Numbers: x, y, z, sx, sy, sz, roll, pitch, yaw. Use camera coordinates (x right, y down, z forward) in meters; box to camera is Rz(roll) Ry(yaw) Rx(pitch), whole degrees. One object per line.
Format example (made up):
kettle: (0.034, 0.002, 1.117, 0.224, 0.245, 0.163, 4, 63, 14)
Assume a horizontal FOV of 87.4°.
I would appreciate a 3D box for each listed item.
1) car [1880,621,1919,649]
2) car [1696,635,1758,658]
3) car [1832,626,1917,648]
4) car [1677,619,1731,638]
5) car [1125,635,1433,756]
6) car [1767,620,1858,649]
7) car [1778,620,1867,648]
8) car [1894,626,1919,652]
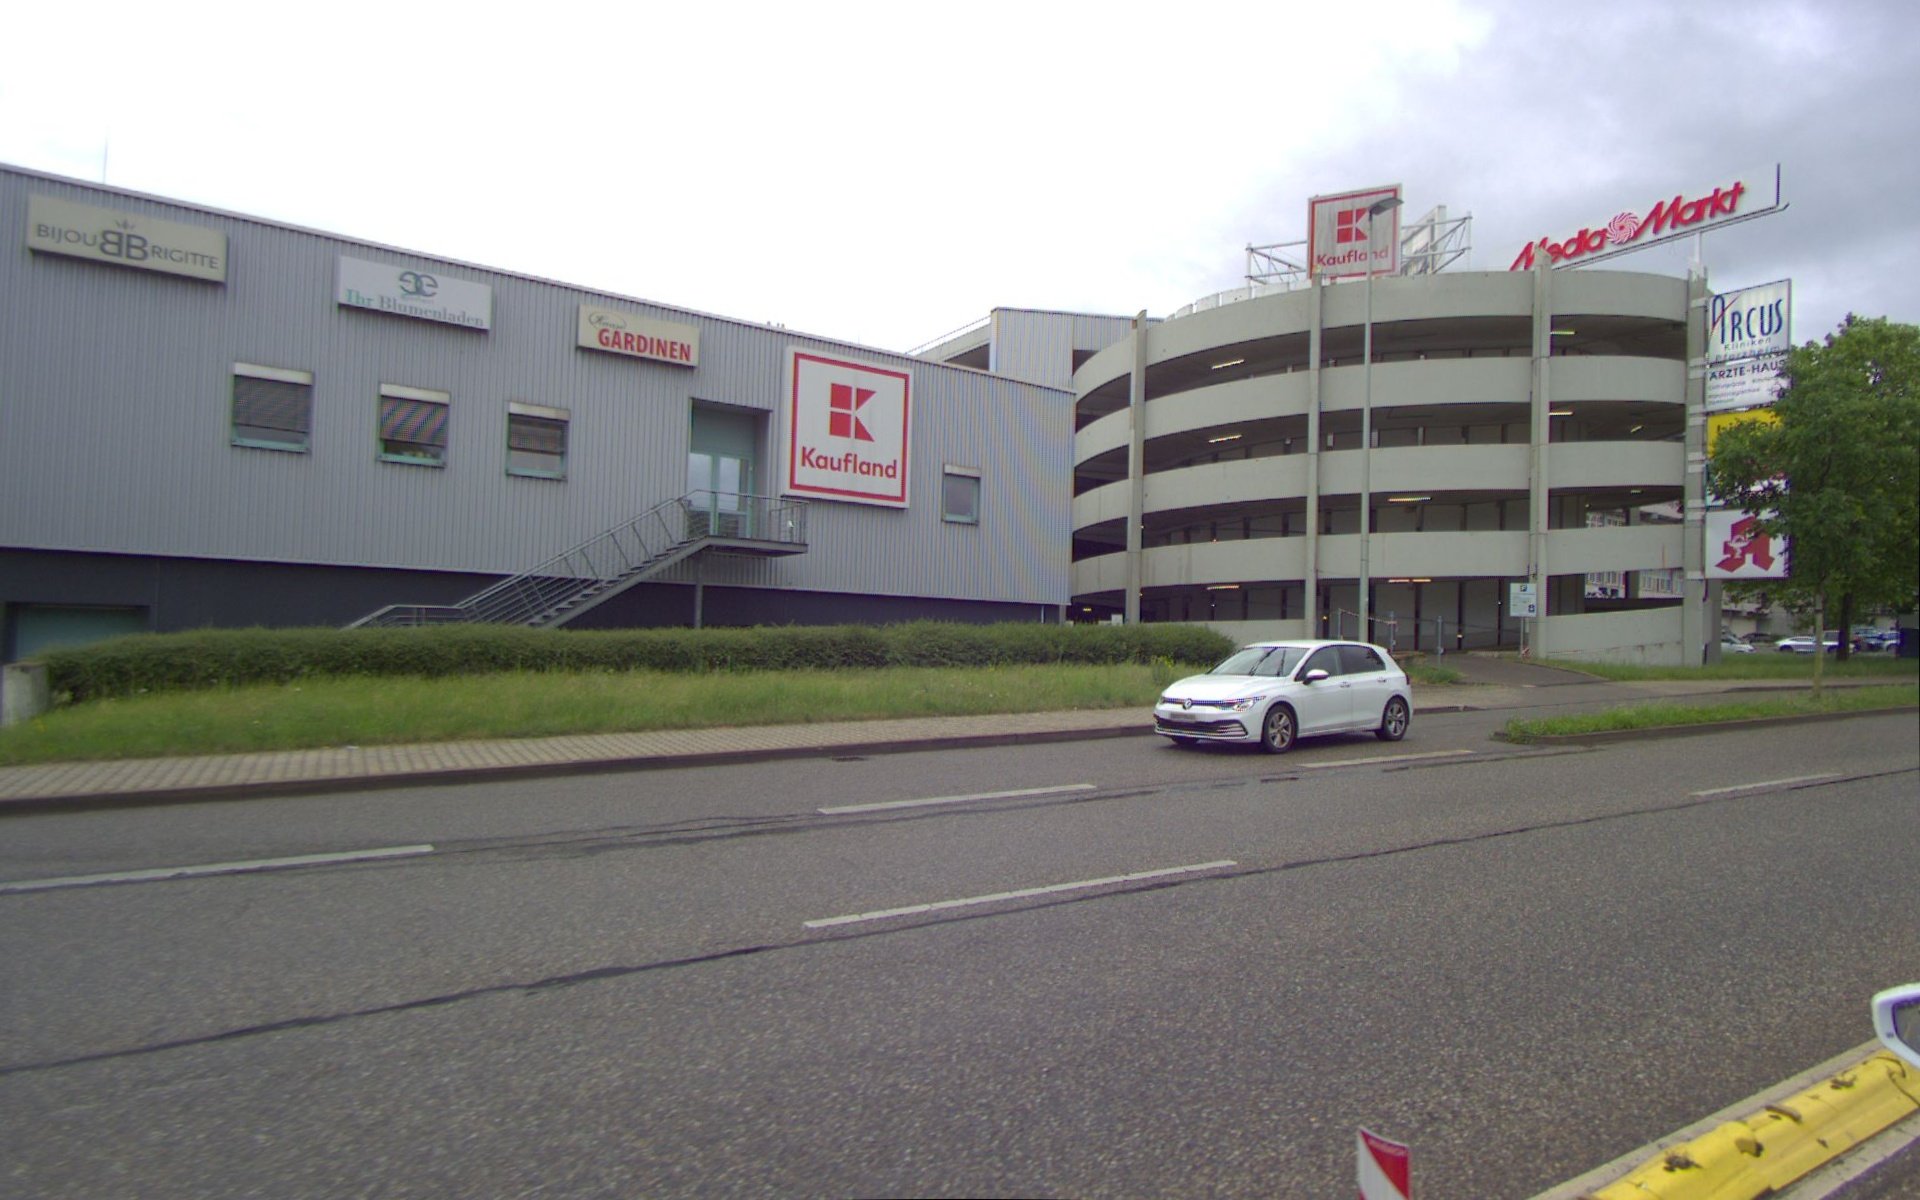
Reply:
car: (66.223, 2.413, 68.700, 1.947, 1.769, 4.568, -1, 1, -35)
car: (47.417, 2.870, 62.137, 1.595, 1.383, 2.676, -1, -2, -37)
car: (70.835, 2.829, 77.884, 2.005, 1.530, 4.579, -1, 1, -35)
car: (74.350, 2.806, 100.399, 1.781, 1.755, 3.962, -1, 1, -34)
car: (4.587, 1.241, 14.243, 4.379, 1.427, 1.887, 1, -2, -35)
car: (59.360, 2.366, 69.967, 1.950, 1.769, 4.563, -1, 1, -38)
car: (61.687, 2.402, 71.880, 2.115, 1.769, 4.563, -1, 1, -38)
car: (68.409, 2.777, 70.050, 1.881, 1.769, 4.469, -1, 1, -35)
